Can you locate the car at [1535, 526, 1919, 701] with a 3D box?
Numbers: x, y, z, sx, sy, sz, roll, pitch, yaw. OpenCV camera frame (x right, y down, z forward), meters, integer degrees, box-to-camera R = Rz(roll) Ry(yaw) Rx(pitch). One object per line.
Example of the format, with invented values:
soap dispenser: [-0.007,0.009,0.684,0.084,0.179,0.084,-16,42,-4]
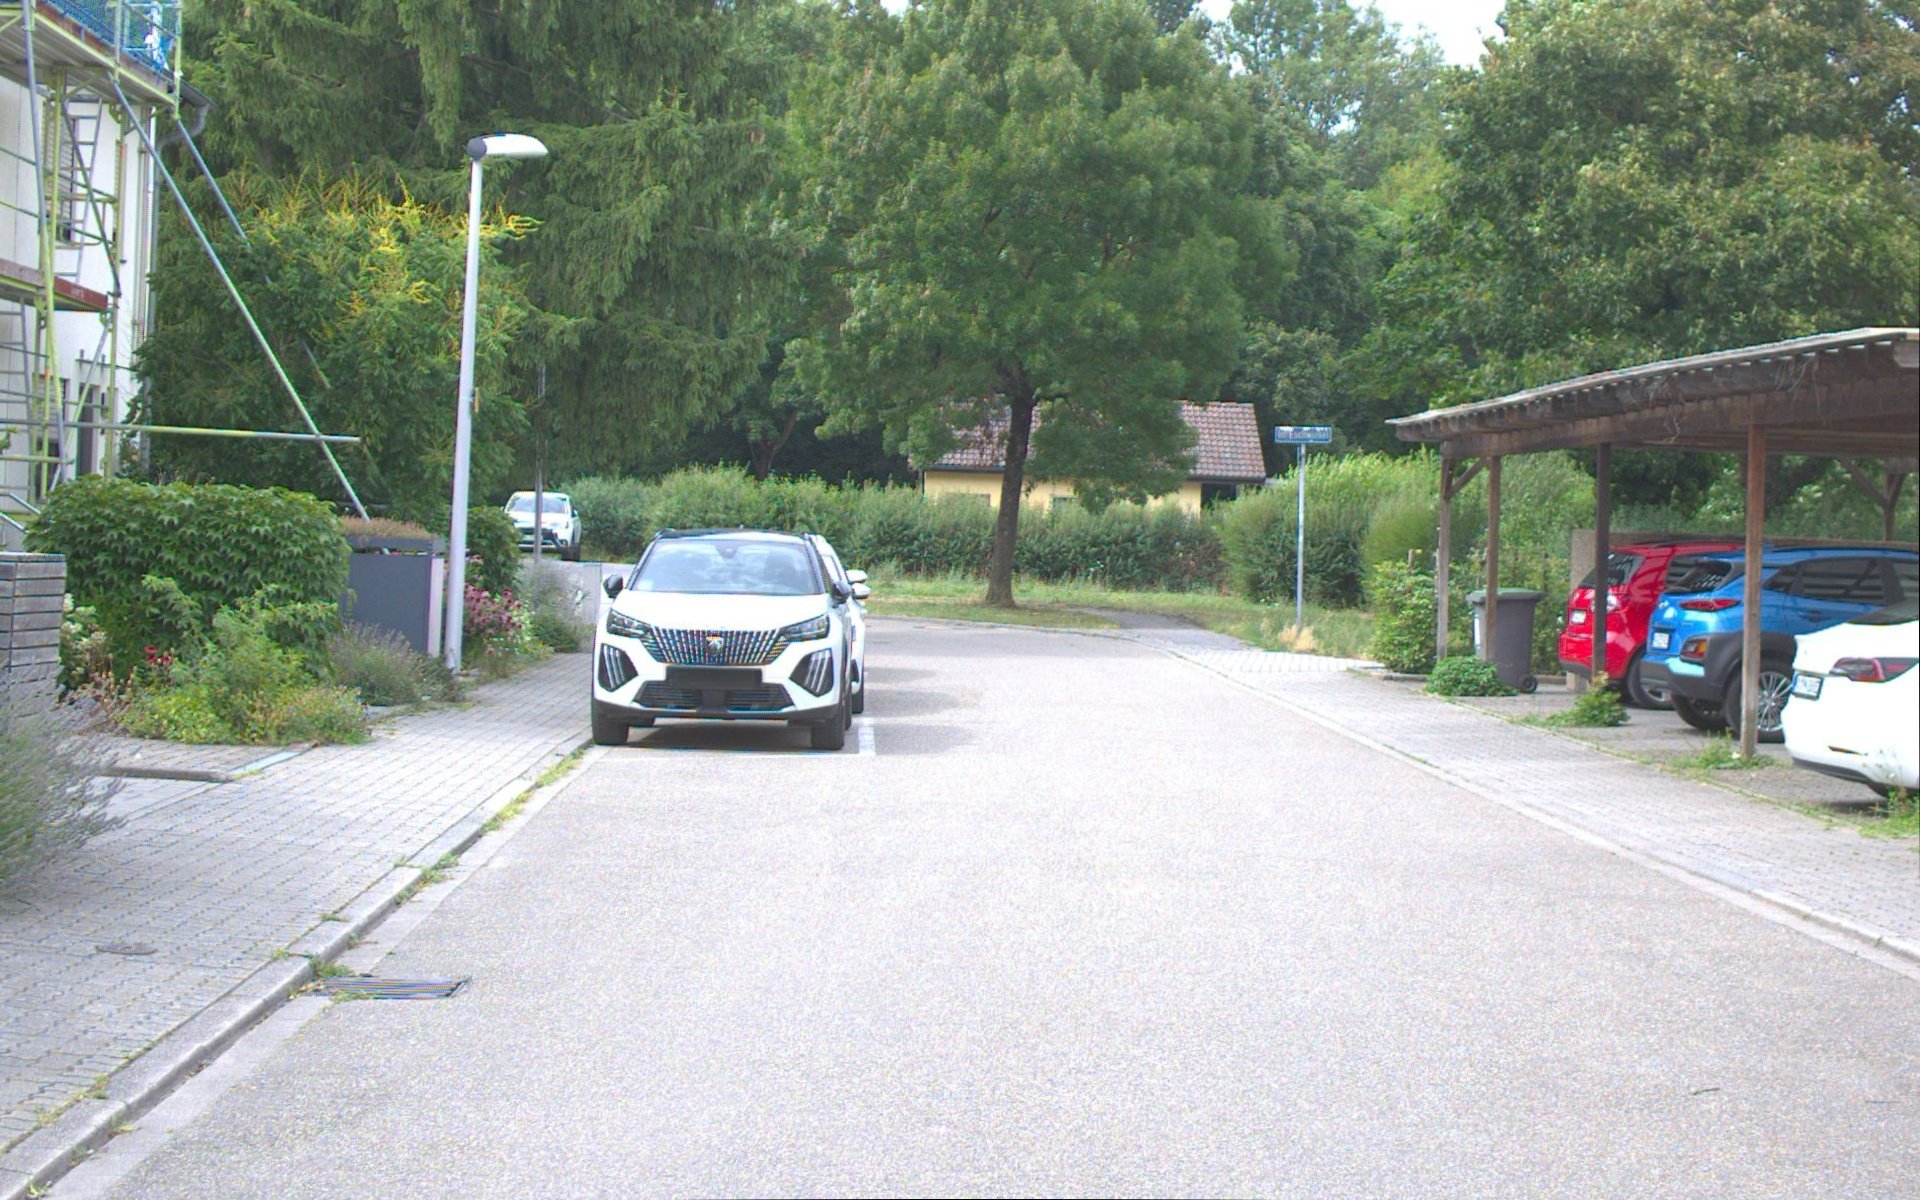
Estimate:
car: [7.711,0.122,32.979,3.956,1.535,1.840,2,1,-4]

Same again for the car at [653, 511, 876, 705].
car: [-1.688,0.007,30.939,1.810,1.556,4.848,2,1,-2]

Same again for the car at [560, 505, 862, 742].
car: [-1.750,0.098,25.538,1.934,1.551,4.635,2,1,-1]

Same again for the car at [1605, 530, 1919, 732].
car: [7.530,0.254,28.054,4.045,1.517,1.951,2,1,-4]

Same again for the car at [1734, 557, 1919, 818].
car: [7.119,0.534,20.509,4.449,1.428,2.027,2,1,-3]

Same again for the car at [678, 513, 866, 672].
car: [-1.931,-0.126,36.395,1.791,1.526,4.140,2,1,-1]

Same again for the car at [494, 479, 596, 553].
car: [-9.868,-2.011,82.058,1.937,1.654,4.341,2,2,-1]
